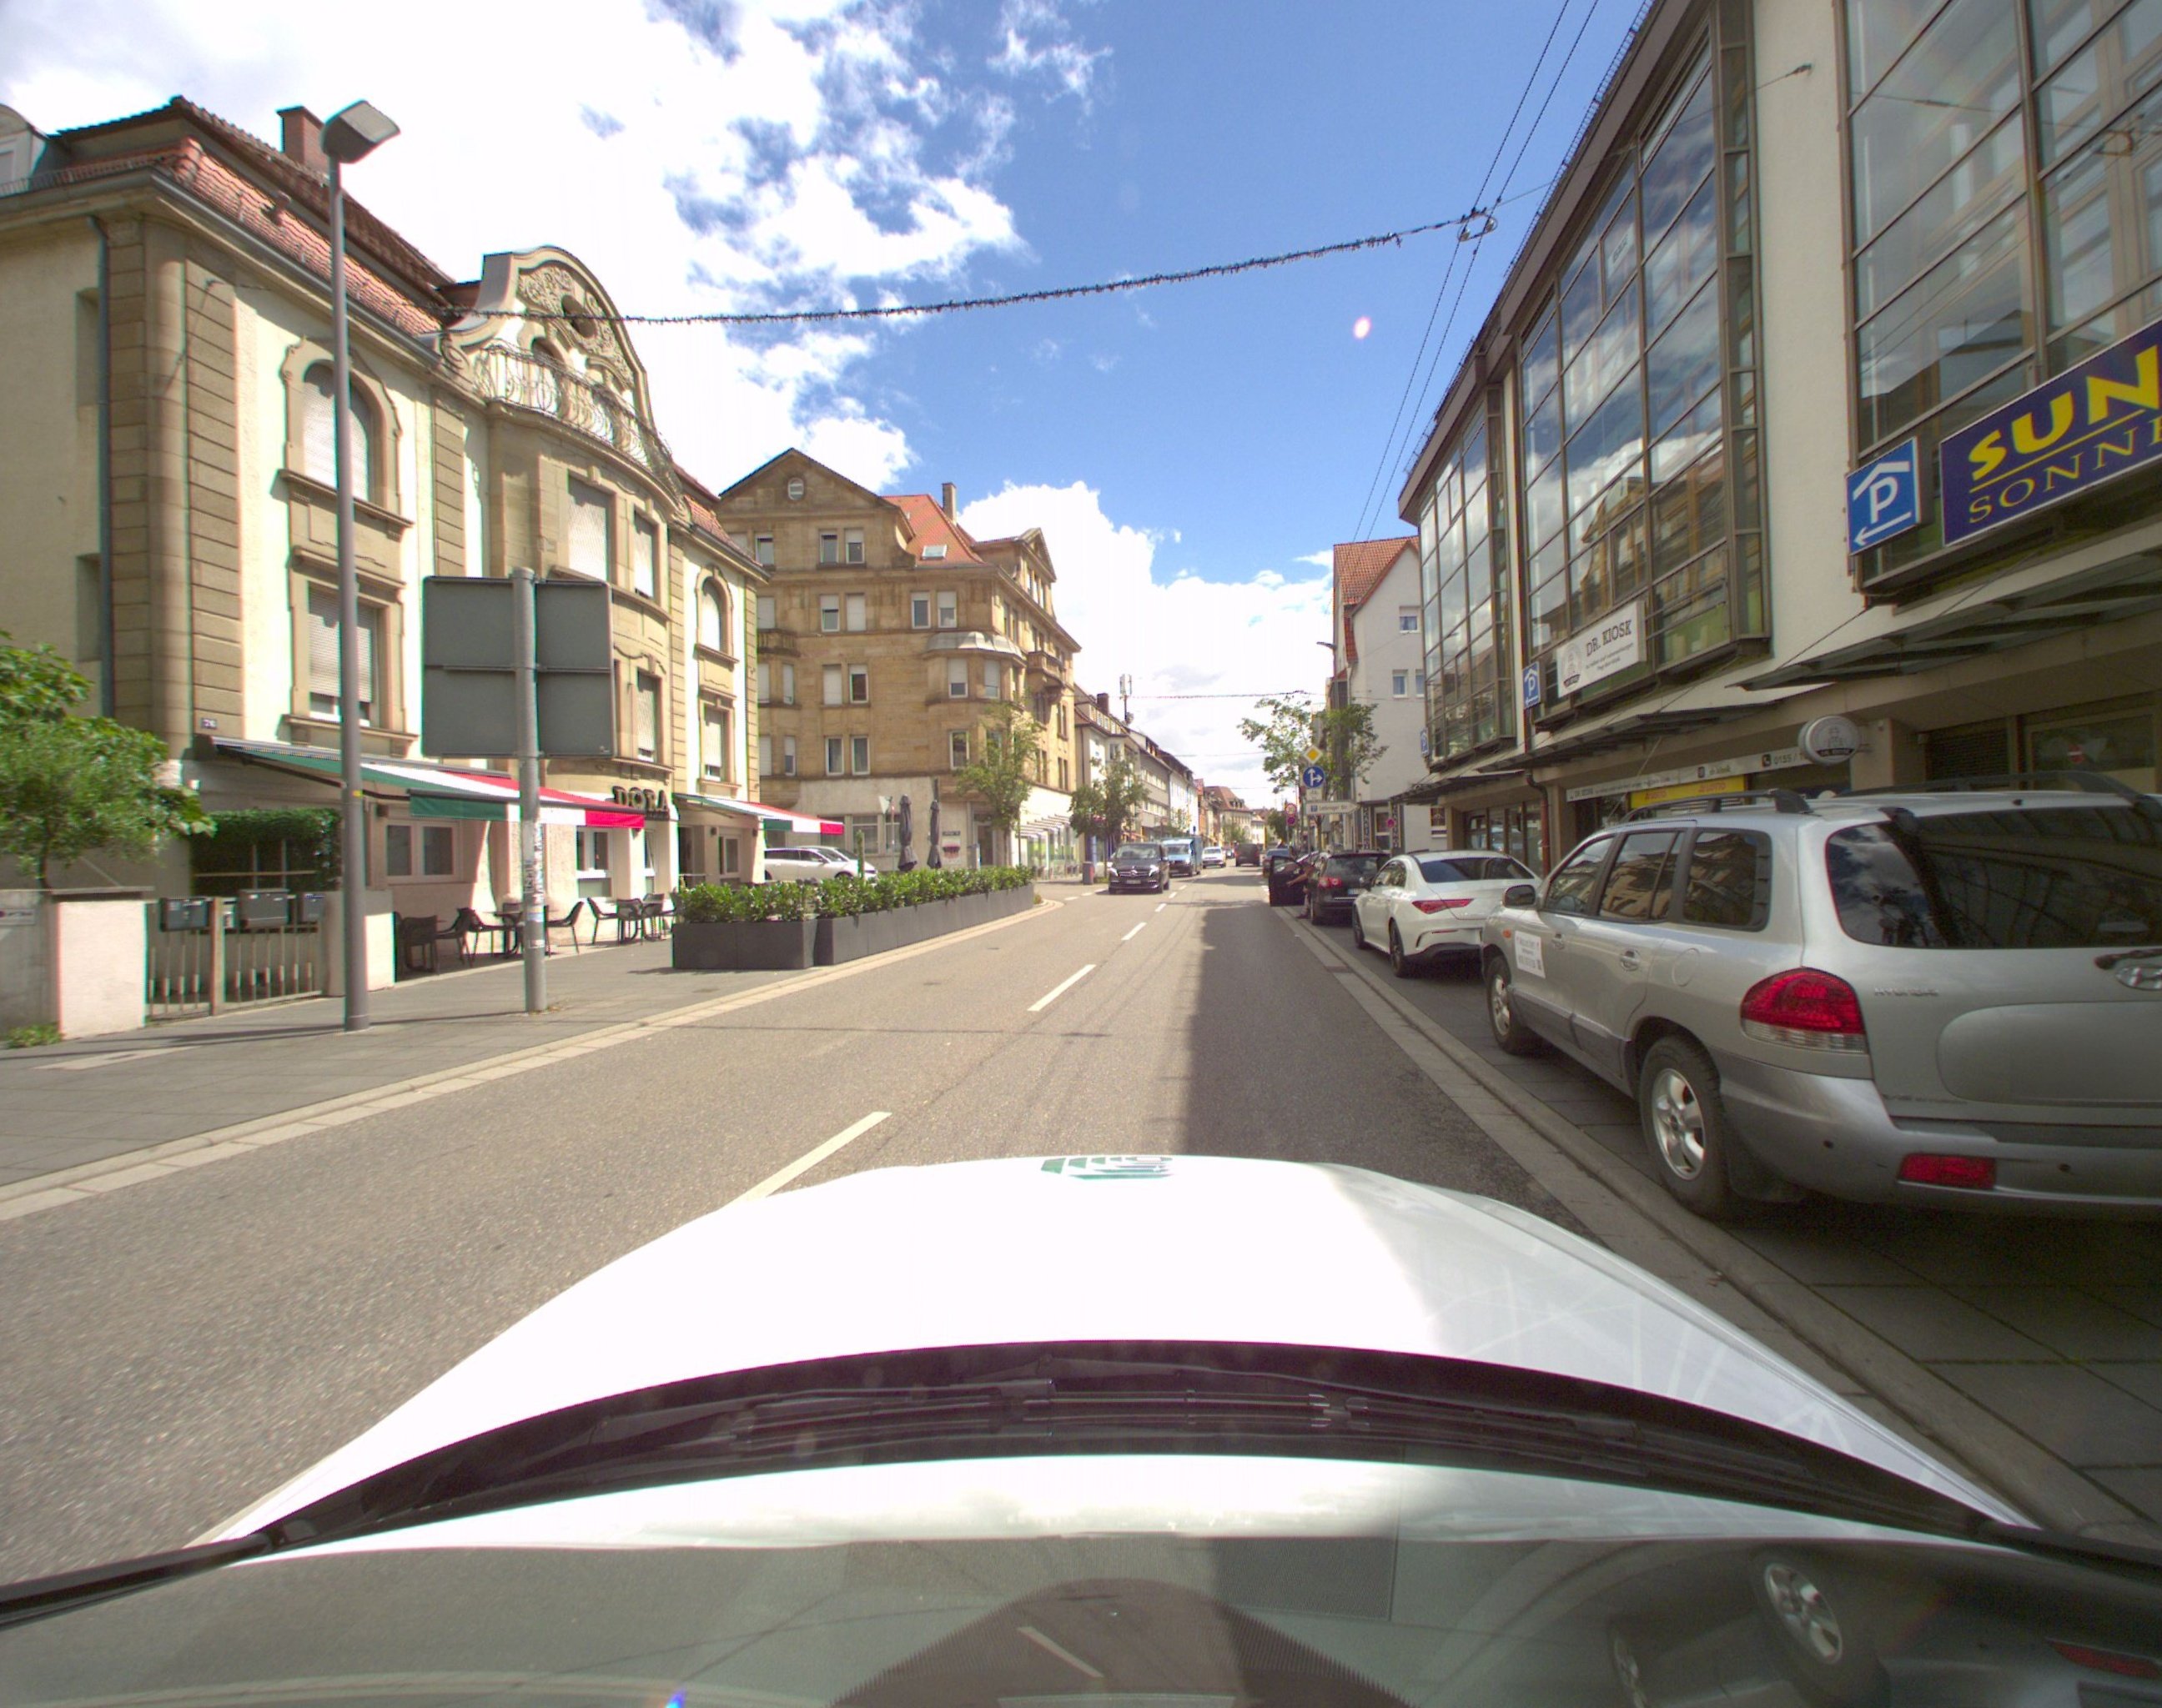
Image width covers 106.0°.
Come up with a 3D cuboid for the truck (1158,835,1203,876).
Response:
[{"bbox_3d":[5.737,0.051,46.413,2.052,2.165,5.311,-2,0,11],"label":"truck"}]

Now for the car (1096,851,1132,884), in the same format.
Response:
[{"bbox_3d":[1.896,0.719,45.912,1.701,1.712,4.007,-1,0,6],"label":"car"}]

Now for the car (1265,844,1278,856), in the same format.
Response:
[{"bbox_3d":[35.972,-0.776,153.409,2.048,2.301,4.243,0,-1,18],"label":"car"}]

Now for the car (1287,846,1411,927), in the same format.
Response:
[{"bbox_3d":[5.409,0.579,16.949,1.597,1.434,4.182,-2,0,6],"label":"car"}]

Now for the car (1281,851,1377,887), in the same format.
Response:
[{"bbox_3d":[10.074,0.590,33.309,3.599,1.413,1.594,0,-1,9],"label":"car"}]

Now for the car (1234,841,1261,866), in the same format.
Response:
[{"bbox_3d":[13.631,-0.066,66.406,1.958,1.875,5.055,-2,0,13],"label":"car"}]

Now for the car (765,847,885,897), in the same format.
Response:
[{"bbox_3d":[-9.619,0.646,30.926,3.982,1.750,1.996,-1,0,-6],"label":"car"}]

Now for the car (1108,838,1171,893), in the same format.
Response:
[{"bbox_3d":[2.243,0.396,30.096,1.823,1.835,4.583,-1,0,10],"label":"car"}]

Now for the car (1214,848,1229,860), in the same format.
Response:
[{"bbox_3d":[19.657,0.013,114.139,1.982,1.585,4.010,-1,0,9],"label":"car"}]

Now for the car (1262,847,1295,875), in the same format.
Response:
[{"bbox_3d":[10.805,0.377,44.751,1.511,1.434,3.380,-2,0,10],"label":"car"}]

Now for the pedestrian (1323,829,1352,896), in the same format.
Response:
[{"bbox_3d":[7.930,0.257,25.208,0.686,2.014,0.725,-1,-1,5],"label":"pedestrian"}]

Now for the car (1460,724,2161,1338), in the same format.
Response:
[{"bbox_3d":[3.530,0.494,4.370,1.812,1.731,4.248,-2,0,13],"label":"car"}]

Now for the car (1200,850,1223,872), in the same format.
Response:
[{"bbox_3d":[10.129,0.527,63.356,1.687,1.585,3.967,-1,0,9],"label":"car"}]

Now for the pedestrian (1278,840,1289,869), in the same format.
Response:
[{"bbox_3d":[14.344,0.047,57.697,0.677,2.013,0.601,-1,0,14],"label":"pedestrian"}]

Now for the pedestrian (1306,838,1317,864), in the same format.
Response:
[{"bbox_3d":[18.098,-0.255,63.909,0.678,2.013,0.600,-1,0,7],"label":"pedestrian"}]

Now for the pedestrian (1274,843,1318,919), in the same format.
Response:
[{"bbox_3d":[4.617,0.568,17.472,0.682,1.594,0.659,1,-1,-43],"label":"pedestrian"}]

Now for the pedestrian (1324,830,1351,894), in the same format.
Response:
[{"bbox_3d":[8.287,0.257,26.345,0.686,2.014,0.725,-1,-1,5],"label":"pedestrian"}]

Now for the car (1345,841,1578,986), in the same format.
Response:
[{"bbox_3d":[4.575,0.601,10.472,1.611,1.434,4.251,-3,0,10],"label":"car"}]

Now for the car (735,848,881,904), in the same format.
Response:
[{"bbox_3d":[-9.339,0.722,28.163,4.413,1.775,1.996,-1,0,-6],"label":"car"}]

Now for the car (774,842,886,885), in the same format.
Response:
[{"bbox_3d":[-10.381,0.399,33.867,3.968,1.662,1.911,-1,0,4],"label":"car"}]

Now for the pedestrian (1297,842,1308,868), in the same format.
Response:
[{"bbox_3d":[16.724,0.073,61.524,0.572,1.890,0.642,0,-1,-17],"label":"pedestrian"}]

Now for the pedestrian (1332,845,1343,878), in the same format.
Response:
[{"bbox_3d":[14.845,0.444,47.128,0.590,1.890,0.574,0,-1,12],"label":"pedestrian"}]

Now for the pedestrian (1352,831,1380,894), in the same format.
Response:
[{"bbox_3d":[9.216,0.270,26.376,0.686,2.014,0.725,-1,-1,5],"label":"pedestrian"}]
